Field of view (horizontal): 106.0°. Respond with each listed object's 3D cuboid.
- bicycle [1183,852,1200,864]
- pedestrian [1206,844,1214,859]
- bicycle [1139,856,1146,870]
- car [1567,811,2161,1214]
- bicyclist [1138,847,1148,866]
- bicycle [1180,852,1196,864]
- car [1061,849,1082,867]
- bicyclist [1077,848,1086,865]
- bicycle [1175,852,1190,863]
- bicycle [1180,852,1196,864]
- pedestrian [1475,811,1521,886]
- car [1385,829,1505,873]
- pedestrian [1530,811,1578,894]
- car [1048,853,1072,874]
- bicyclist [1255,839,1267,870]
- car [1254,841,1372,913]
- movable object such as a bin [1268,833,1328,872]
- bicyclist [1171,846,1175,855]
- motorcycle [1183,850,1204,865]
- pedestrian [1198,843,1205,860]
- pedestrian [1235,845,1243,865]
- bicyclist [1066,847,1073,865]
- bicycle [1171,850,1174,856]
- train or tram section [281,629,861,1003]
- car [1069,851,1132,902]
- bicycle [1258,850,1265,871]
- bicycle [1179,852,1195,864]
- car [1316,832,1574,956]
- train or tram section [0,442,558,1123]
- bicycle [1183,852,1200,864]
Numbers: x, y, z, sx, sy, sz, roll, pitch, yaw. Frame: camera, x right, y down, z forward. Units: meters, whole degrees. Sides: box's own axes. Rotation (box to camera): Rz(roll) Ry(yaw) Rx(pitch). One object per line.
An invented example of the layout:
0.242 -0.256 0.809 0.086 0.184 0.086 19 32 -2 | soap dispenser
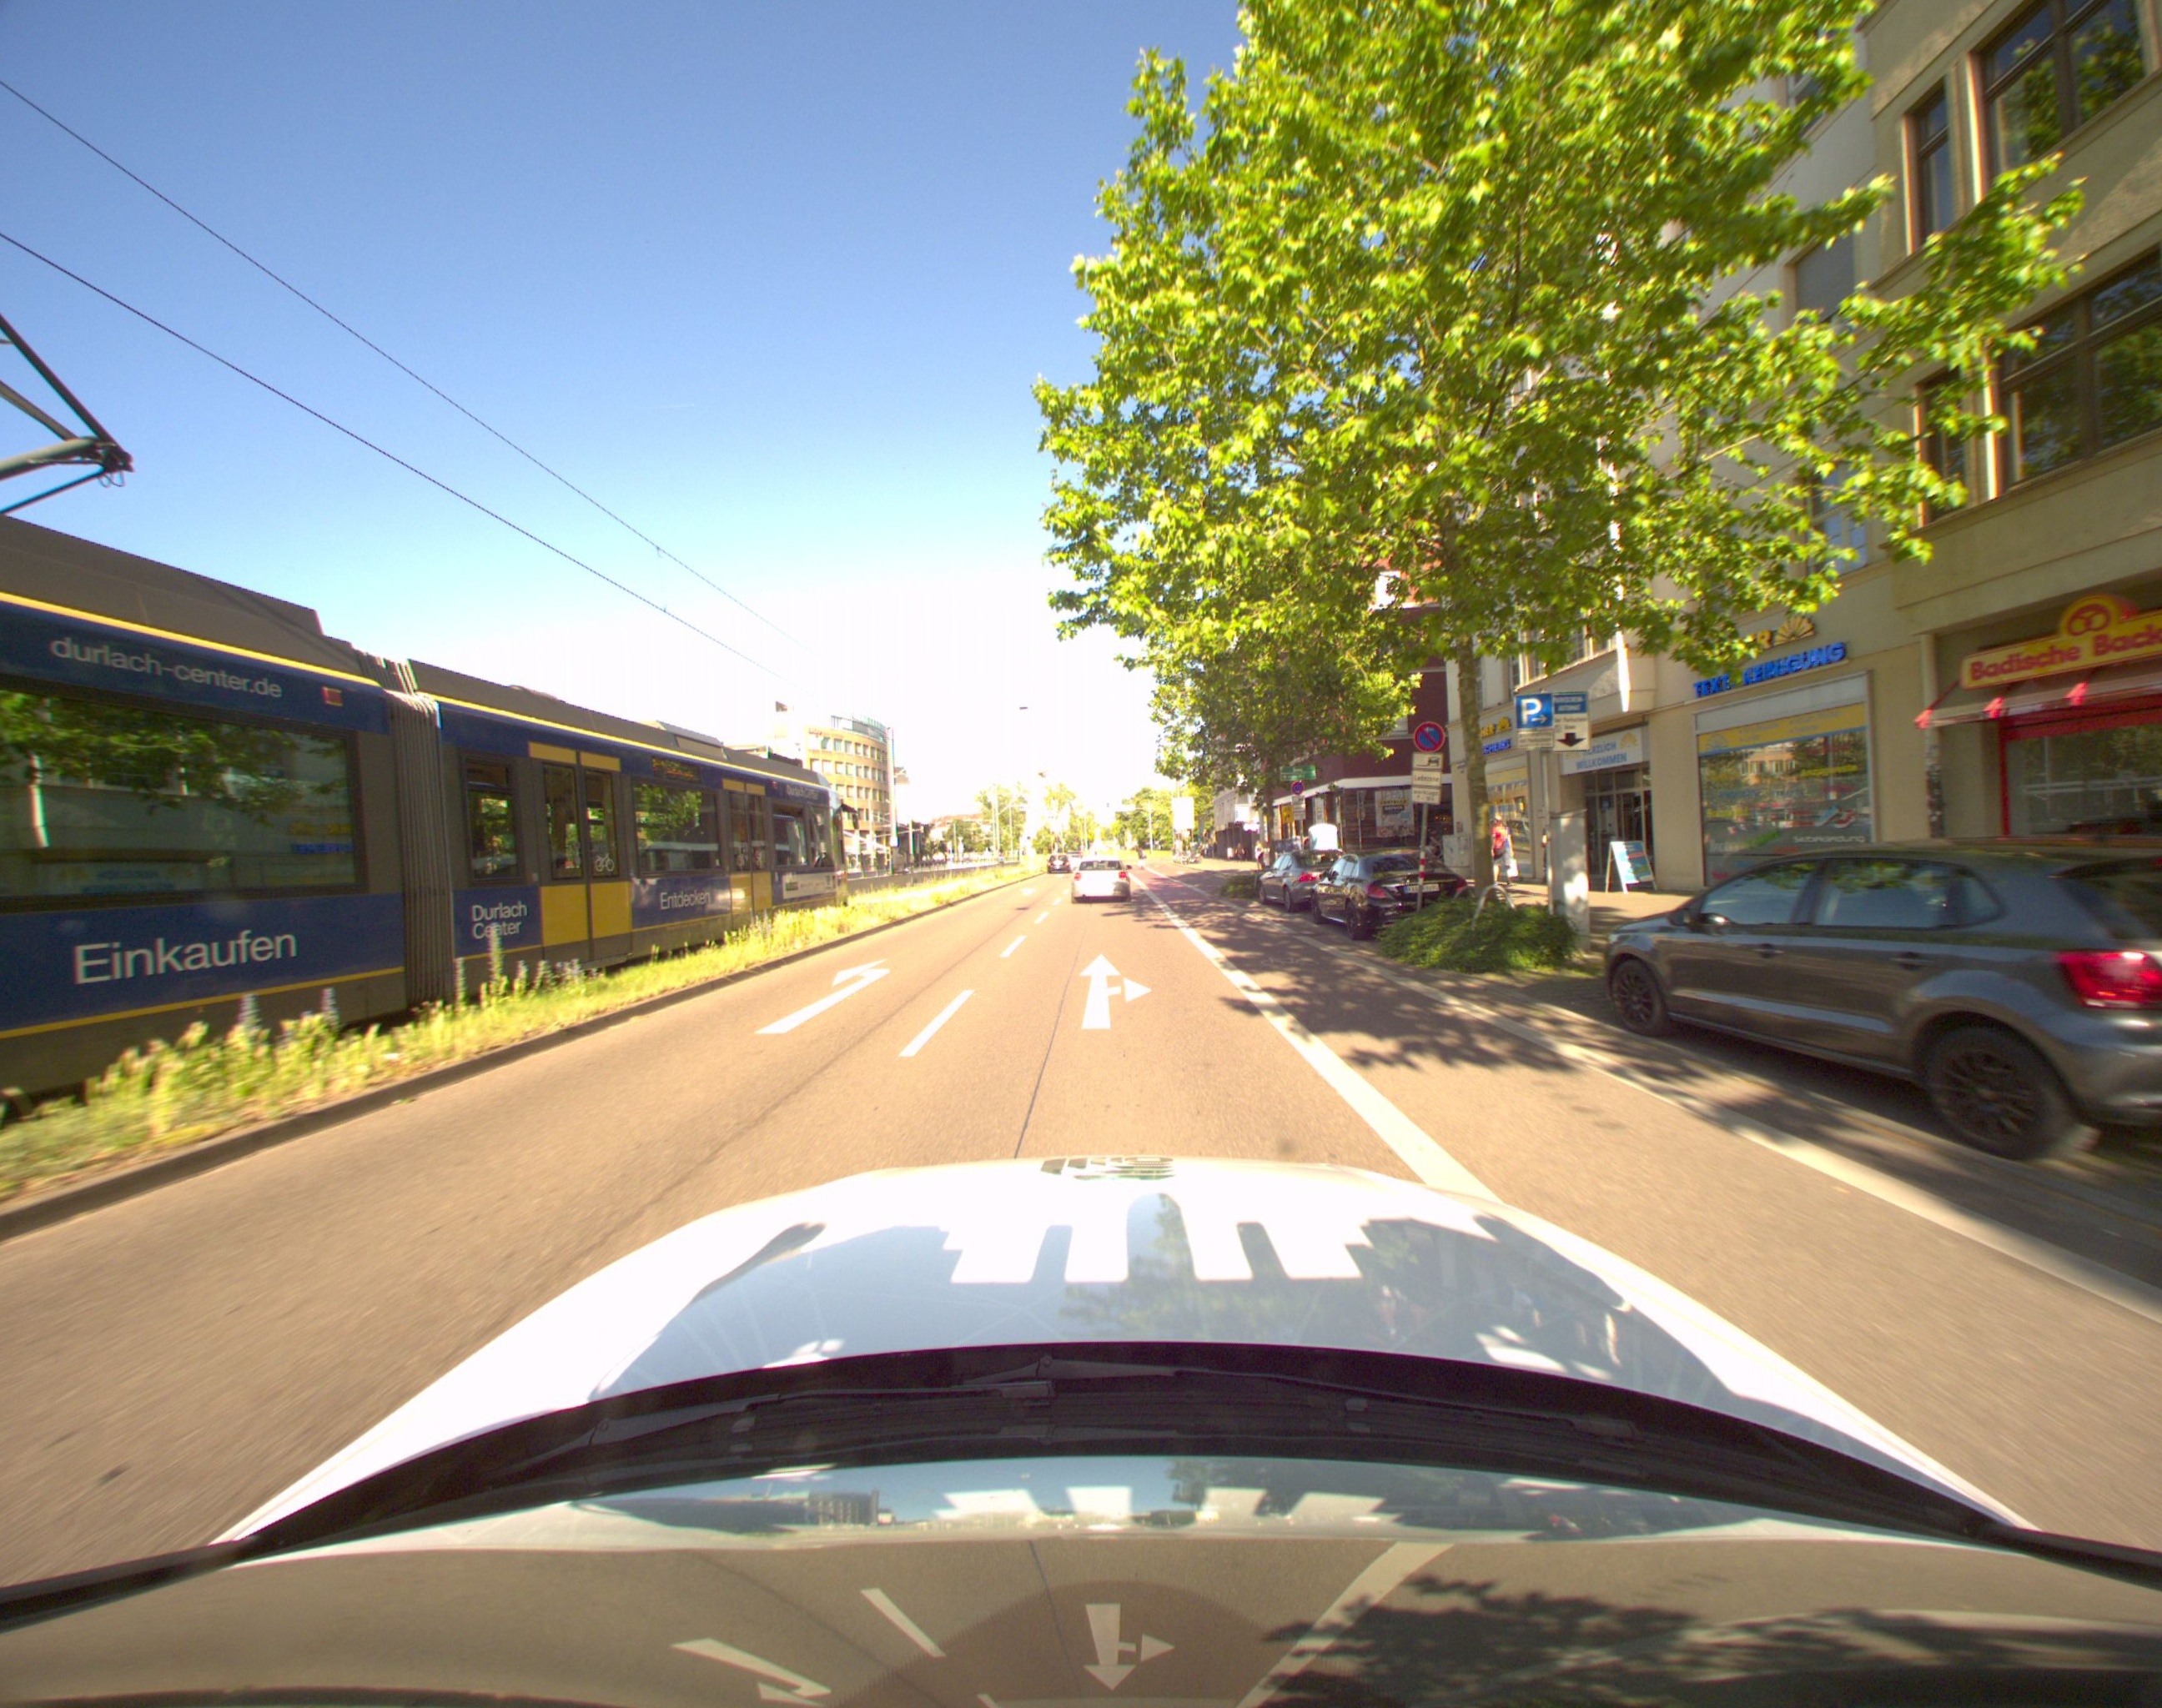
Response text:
10.257 0.361 75.726 1.459 1.067 0.257 -3 -1 3 | bicycle
16.141 -0.283 101.668 0.819 1.856 0.921 0 0 16 | pedestrian
4.950 0.718 65.282 0.497 1.088 1.998 0 0 2 | bicycle
5.015 0.578 5.079 1.688 1.502 3.803 -4 0 2 | car
4.953 0.188 65.339 0.782 1.531 0.895 0 0 1 | bicyclist
10.097 0.390 76.945 1.459 1.067 0.257 -3 -1 3 | bicycle
-0.788 0.309 68.982 1.638 1.421 4.002 -1 0 2 | car
0.037 0.201 74.531 0.616 1.571 0.684 -1 0 -10 | bicyclist
10.341 0.383 83.212 1.459 1.067 0.257 -3 -1 3 | bicycle
10.190 0.416 77.807 1.459 1.067 0.257 -3 -1 3 | bicycle
10.910 -0.136 21.336 0.711 1.900 0.863 -3 0 1 | pedestrian
15.802 -0.106 35.529 4.283 1.788 1.996 -1 -2 1 | car
10.047 -0.039 17.314 0.556 1.711 0.770 -1 0 1 | pedestrian
-1.539 0.663 60.705 1.721 1.470 4.409 -2 0 -1 | car
9.940 0.044 45.002 0.597 1.690 0.599 -2 0 12 | bicyclist
5.635 0.503 20.343 1.782 1.555 4.437 -1 0 2 | car
11.093 -0.104 41.886 1.941 1.843 3.475 -2 1 -4 | movable object such as a bin
14.217 -0.556 126.175 0.614 1.380 0.687 0 0 3 | bicyclist
10.161 0.284 73.792 1.846 1.301 0.653 -1 0 4 | motorcycle
14.907 -0.316 100.695 0.786 2.014 0.872 0 0 9 | pedestrian
13.231 0.082 68.233 0.570 1.582 0.557 -1 0 2 | pedestrian
-1.055 0.184 74.410 0.614 1.572 0.687 0 0 3 | bicyclist
14.226 -0.094 126.275 0.350 0.958 1.574 0 0 3 | bicycle
-6.792 -0.390 13.914 2.942 3.897 10.804 0 0 1 | train or tram section
0.594 0.648 25.464 1.792 1.415 4.000 -1 0 1 | car
9.977 0.355 45.005 0.315 1.085 1.691 -2 0 14 | bicycle
10.189 0.410 78.180 1.459 1.067 0.257 -3 -1 3 | bicycle
5.284 0.498 12.640 2.031 1.509 4.595 -2 0 2 | car
-6.982 -0.404 6.595 2.945 3.897 3.866 0 0 1 | train or tram section
10.237 0.360 75.355 1.459 1.067 0.257 -3 -1 3 | bicycle
